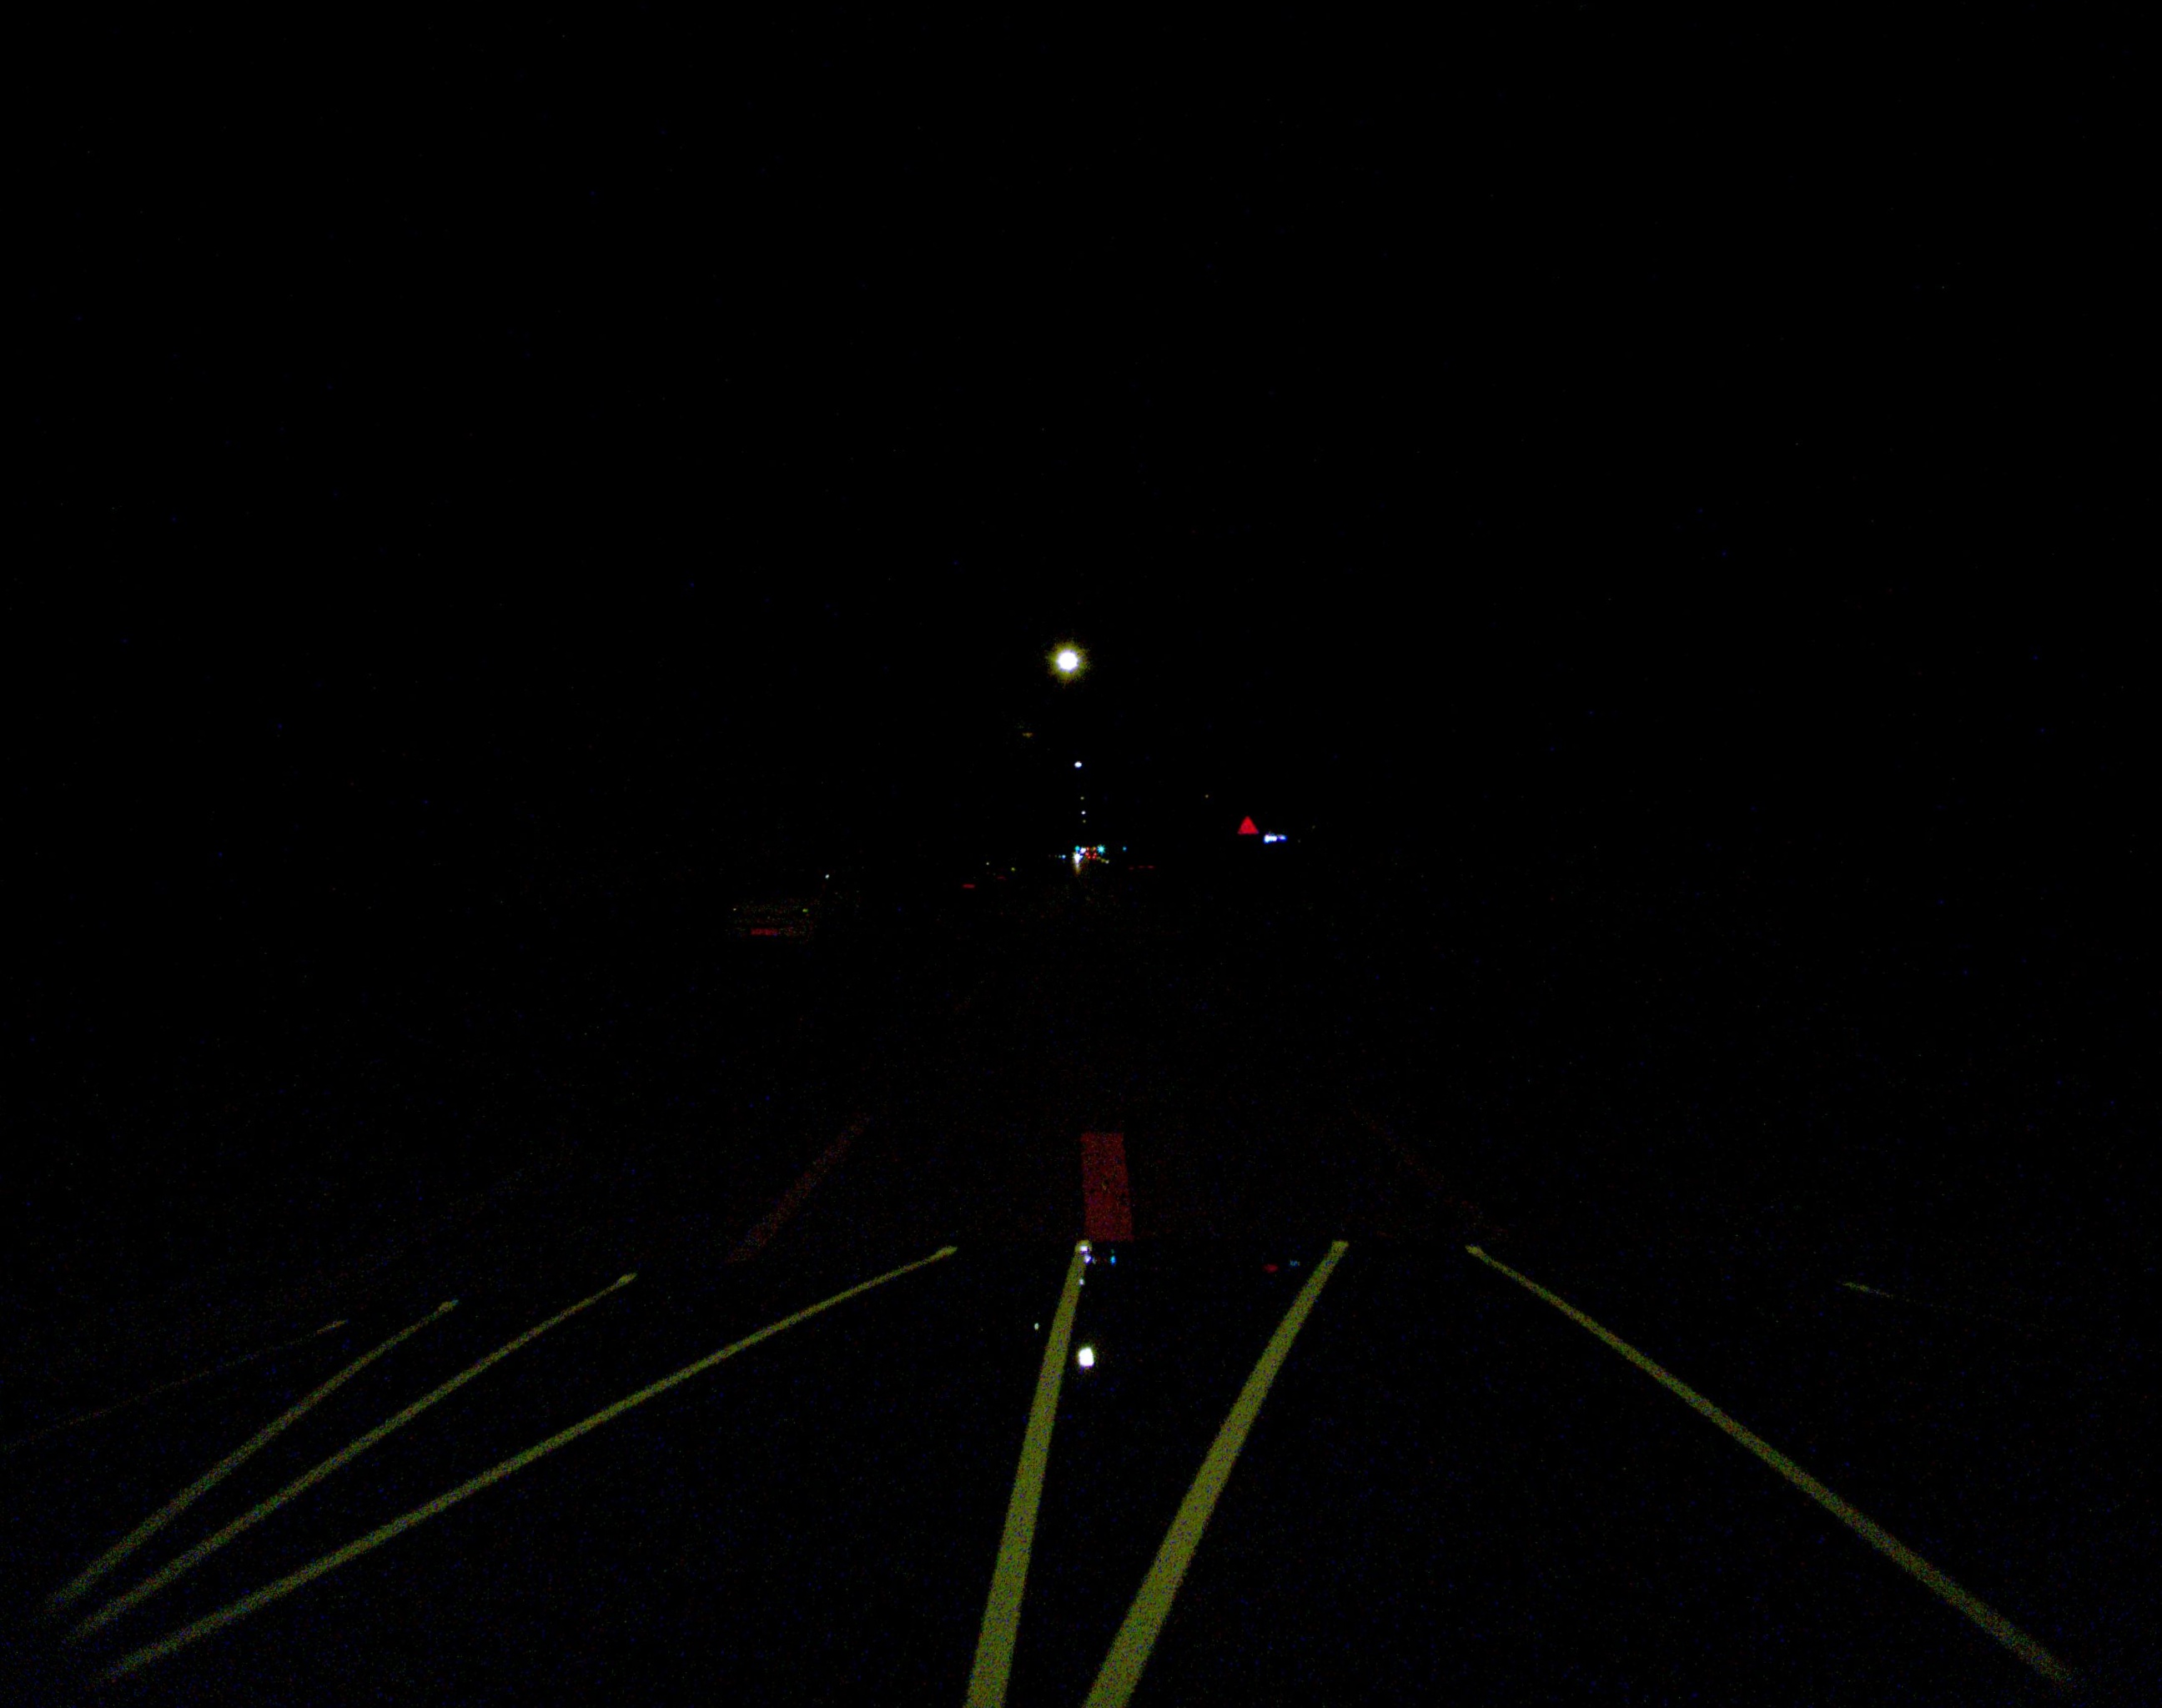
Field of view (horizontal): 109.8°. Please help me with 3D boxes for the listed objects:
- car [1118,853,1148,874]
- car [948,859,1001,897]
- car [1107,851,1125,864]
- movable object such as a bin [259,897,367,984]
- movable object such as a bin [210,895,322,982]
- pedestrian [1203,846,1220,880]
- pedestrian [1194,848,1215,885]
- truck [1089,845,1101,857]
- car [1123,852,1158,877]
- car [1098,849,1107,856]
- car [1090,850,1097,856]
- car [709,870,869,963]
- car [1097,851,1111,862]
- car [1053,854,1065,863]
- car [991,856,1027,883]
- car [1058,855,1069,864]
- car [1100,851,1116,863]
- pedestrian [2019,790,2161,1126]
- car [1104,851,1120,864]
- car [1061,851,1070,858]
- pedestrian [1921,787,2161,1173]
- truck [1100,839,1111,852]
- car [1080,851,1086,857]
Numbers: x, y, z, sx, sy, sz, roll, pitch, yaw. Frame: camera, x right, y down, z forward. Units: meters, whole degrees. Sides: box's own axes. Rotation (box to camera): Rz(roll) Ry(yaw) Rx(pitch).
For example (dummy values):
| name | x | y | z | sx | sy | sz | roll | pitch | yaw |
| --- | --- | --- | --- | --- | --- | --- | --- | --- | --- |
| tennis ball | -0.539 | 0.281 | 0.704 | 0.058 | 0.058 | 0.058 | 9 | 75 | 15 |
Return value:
| name | x | y | z | sx | sy | sz | roll | pitch | yaw |
| --- | --- | --- | --- | --- | --- | --- | --- | --- | --- |
| car | 3.890 | 0.677 | 57.192 | 1.864 | 1.458 | 3.896 | -4 | 0 | -1 |
| car | -4.631 | 0.997 | 33.549 | 1.865 | 1.544 | 4.044 | 0 | 0 | -1 |
| car | 4.599 | 0.490 | 100.002 | 1.874 | 1.635 | 3.999 | -2 | 0 | -3 |
| movable object such as a bin | -10.137 | 1.117 | 10.052 | 0.609 | 1.042 | 0.755 | -2 | 1 | 1 |
| movable object such as a bin | -10.799 | 1.102 | 10.092 | 0.609 | 1.042 | 0.755 | -2 | 1 | 1 |
| pedestrian | 6.732 | 0.465 | 39.190 | 0.670 | 1.716 | 0.866 | -2 | 0 | -2 |
| pedestrian | 5.661 | 0.557 | 34.958 | 0.744 | 1.662 | 1.103 | -2 | 1 | 0 |
| truck | 4.101 | -0.990 | 224.046 | 3.222 | 3.359 | 8.850 | -2 | 0 | 1 |
| car | 3.973 | 0.701 | 51.672 | 1.864 | 1.523 | 4.587 | -4 | 0 | -1 |
| car | 5.041 | -0.364 | 179.548 | 1.873 | 1.551 | 4.353 | -2 | 0 | 1 |
| car | 3.365 | -0.268 | 201.429 | 1.873 | 1.635 | 4.000 | -2 | 0 | 1 |
| car | -5.364 | 1.075 | 14.462 | 1.672 | 1.476 | 3.603 | 0 | 0 | 0 |
| car | 3.620 | 0.331 | 118.989 | 1.874 | 1.635 | 3.999 | -2 | 0 | -3 |
| car | -3.635 | 0.749 | 127.382 | 1.874 | 1.407 | 4.000 | -2 | 0 | 0 |
| car | -4.408 | 0.917 | 46.994 | 1.742 | 1.588 | 4.359 | 0 | 0 | 1 |
| car | -3.046 | 0.938 | 134.089 | 1.874 | 1.407 | 4.000 | -2 | 0 | 0 |
| car | 3.907 | 0.408 | 110.114 | 1.874 | 1.635 | 3.999 | -2 | 0 | -3 |
| pedestrian | 5.926 | 0.524 | 3.943 | 0.744 | 1.735 | 1.103 | -2 | 1 | 0 |
| car | 4.237 | 0.454 | 104.433 | 1.874 | 1.635 | 3.999 | -2 | 0 | -3 |
| car | -3.401 | 0.030 | 163.615 | 1.874 | 1.407 | 4.000 | -2 | 0 | 0 |
| pedestrian | 5.167 | 0.552 | 3.844 | 0.677 | 1.735 | 1.028 | -2 | 1 | 0 |
| truck | 4.899 | -1.706 | 154.707 | 2.084 | 2.562 | 6.873 | -2 | 0 | 1 |
| car | 0.563 | -0.103 | 219.161 | 1.874 | 1.635 | 4.000 | -2 | 0 | 0 |
